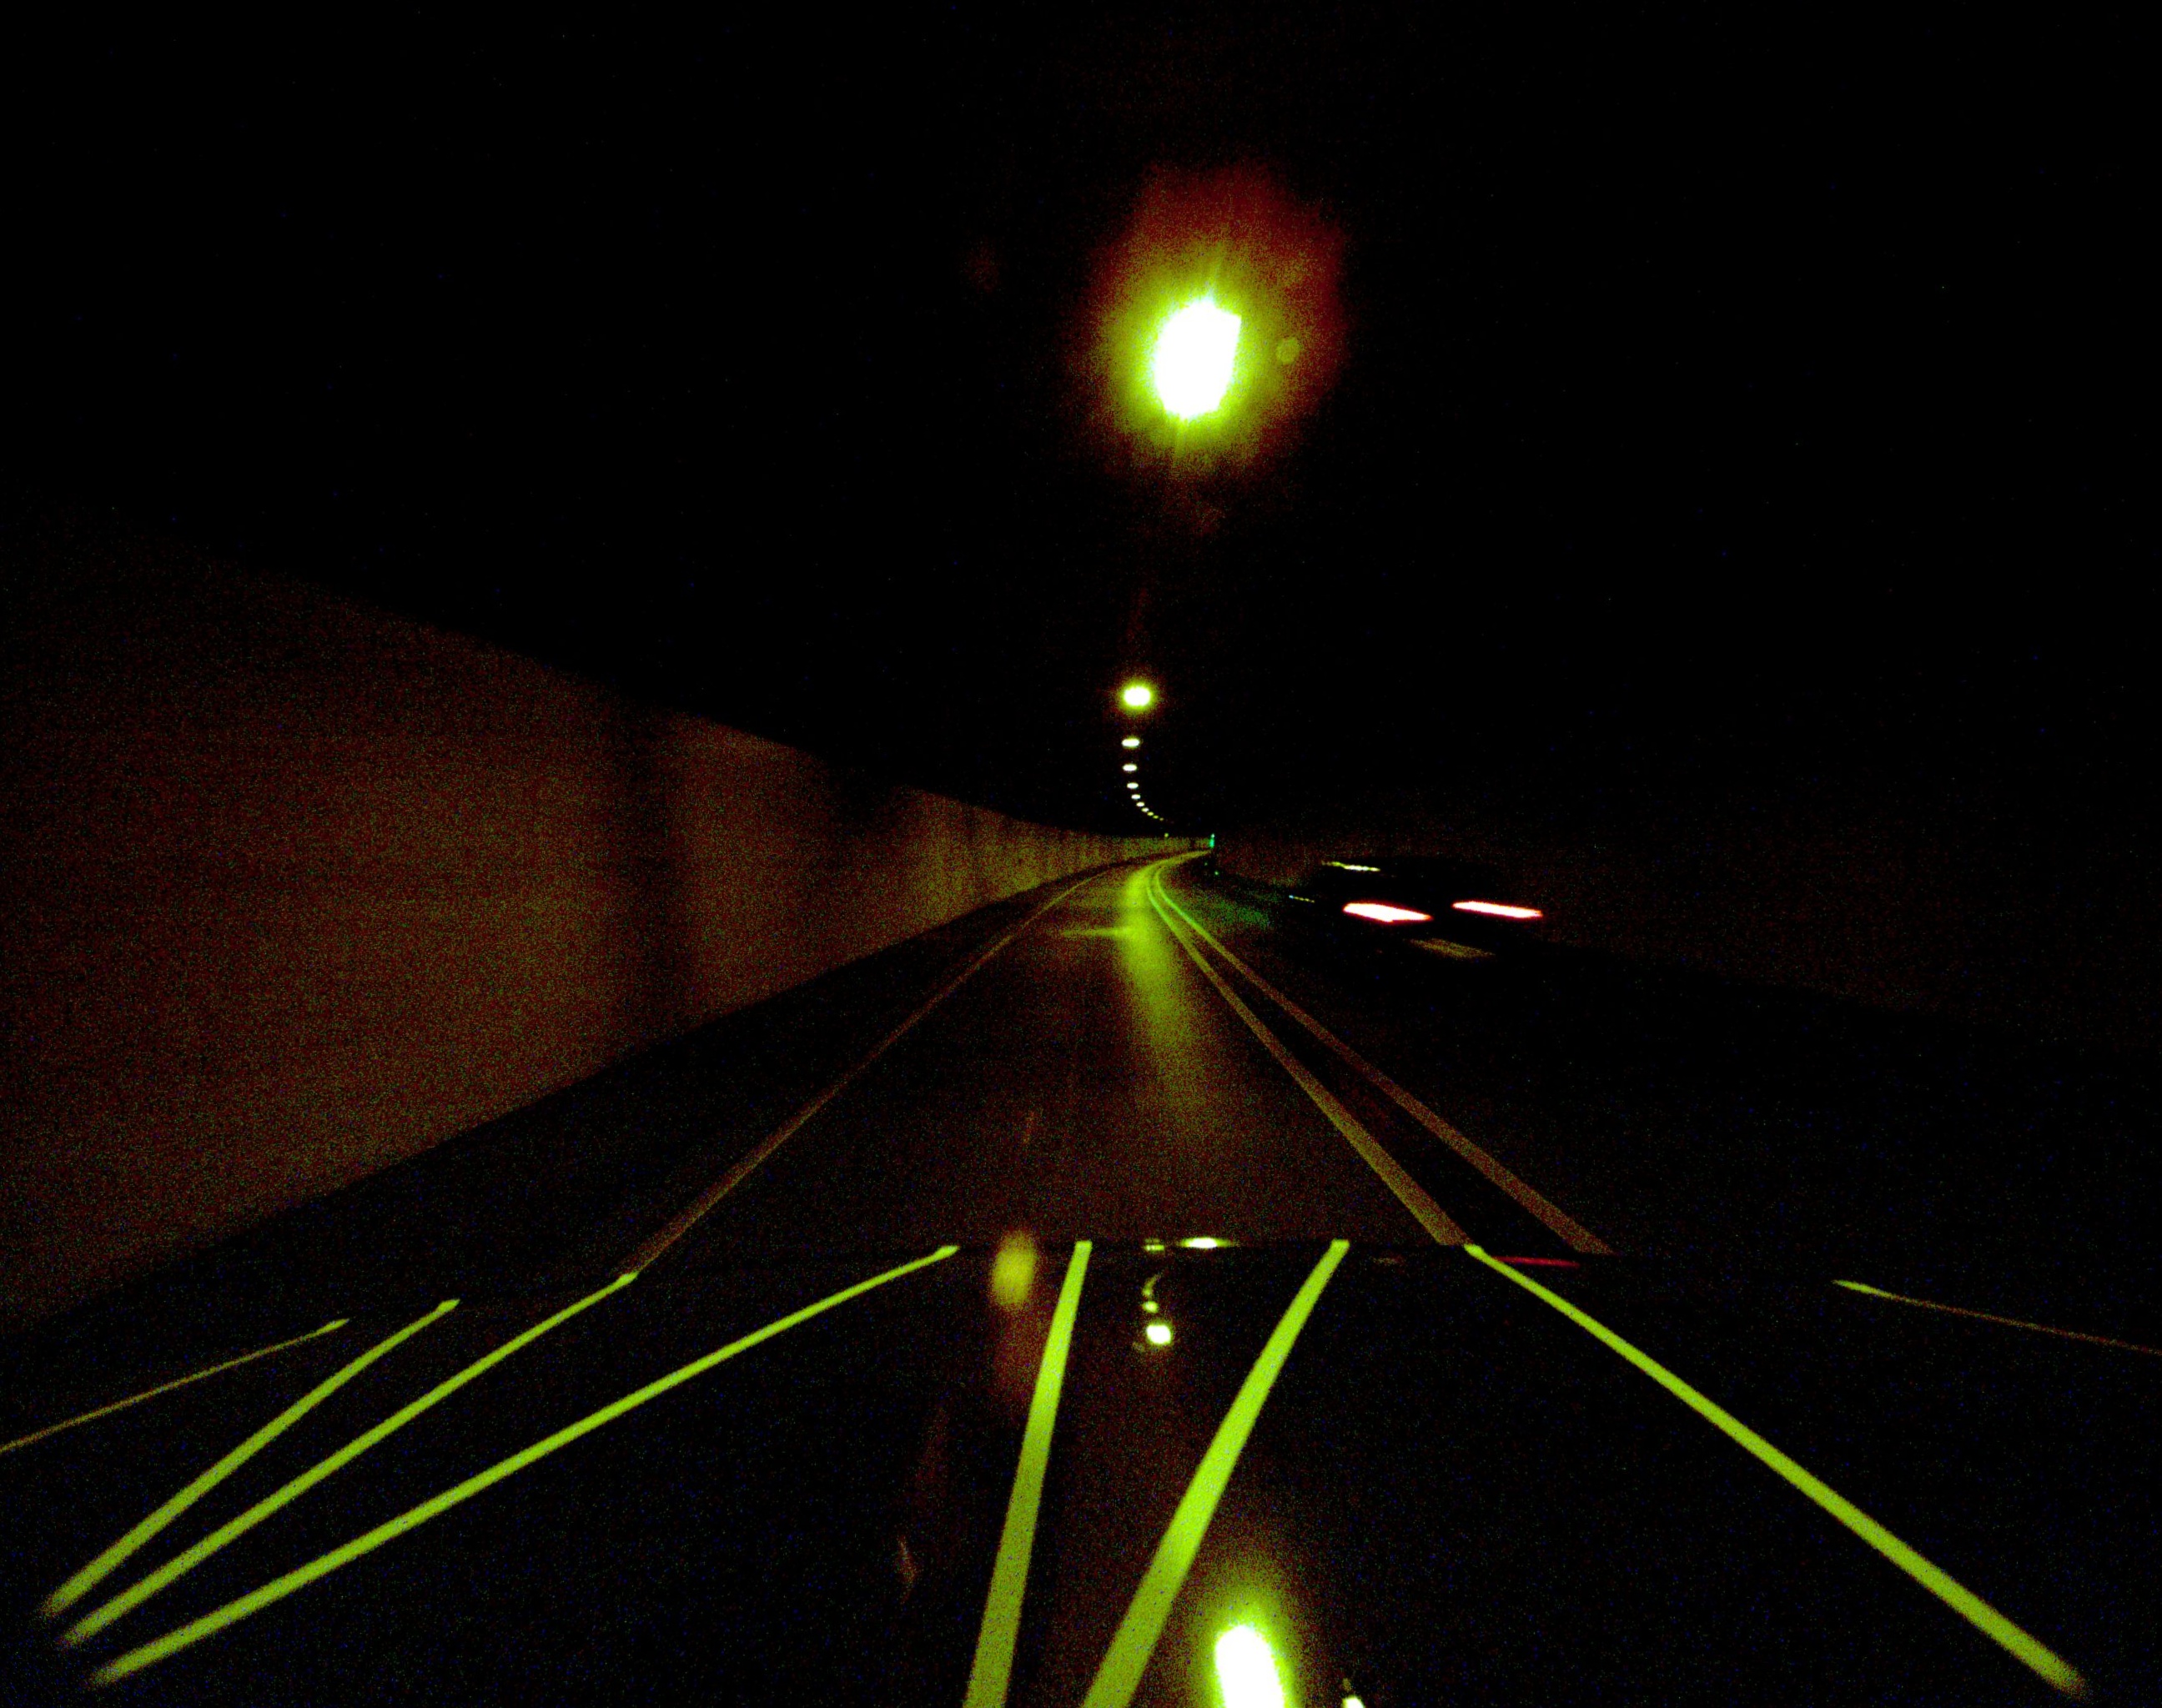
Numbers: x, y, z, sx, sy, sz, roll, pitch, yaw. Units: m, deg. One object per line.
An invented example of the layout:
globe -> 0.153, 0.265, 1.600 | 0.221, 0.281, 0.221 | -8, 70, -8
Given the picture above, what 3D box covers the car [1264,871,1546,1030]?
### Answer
car -> 3.564, 0.960, 9.249 | 1.711, 1.407, 4.117 | -1, 0, 1
